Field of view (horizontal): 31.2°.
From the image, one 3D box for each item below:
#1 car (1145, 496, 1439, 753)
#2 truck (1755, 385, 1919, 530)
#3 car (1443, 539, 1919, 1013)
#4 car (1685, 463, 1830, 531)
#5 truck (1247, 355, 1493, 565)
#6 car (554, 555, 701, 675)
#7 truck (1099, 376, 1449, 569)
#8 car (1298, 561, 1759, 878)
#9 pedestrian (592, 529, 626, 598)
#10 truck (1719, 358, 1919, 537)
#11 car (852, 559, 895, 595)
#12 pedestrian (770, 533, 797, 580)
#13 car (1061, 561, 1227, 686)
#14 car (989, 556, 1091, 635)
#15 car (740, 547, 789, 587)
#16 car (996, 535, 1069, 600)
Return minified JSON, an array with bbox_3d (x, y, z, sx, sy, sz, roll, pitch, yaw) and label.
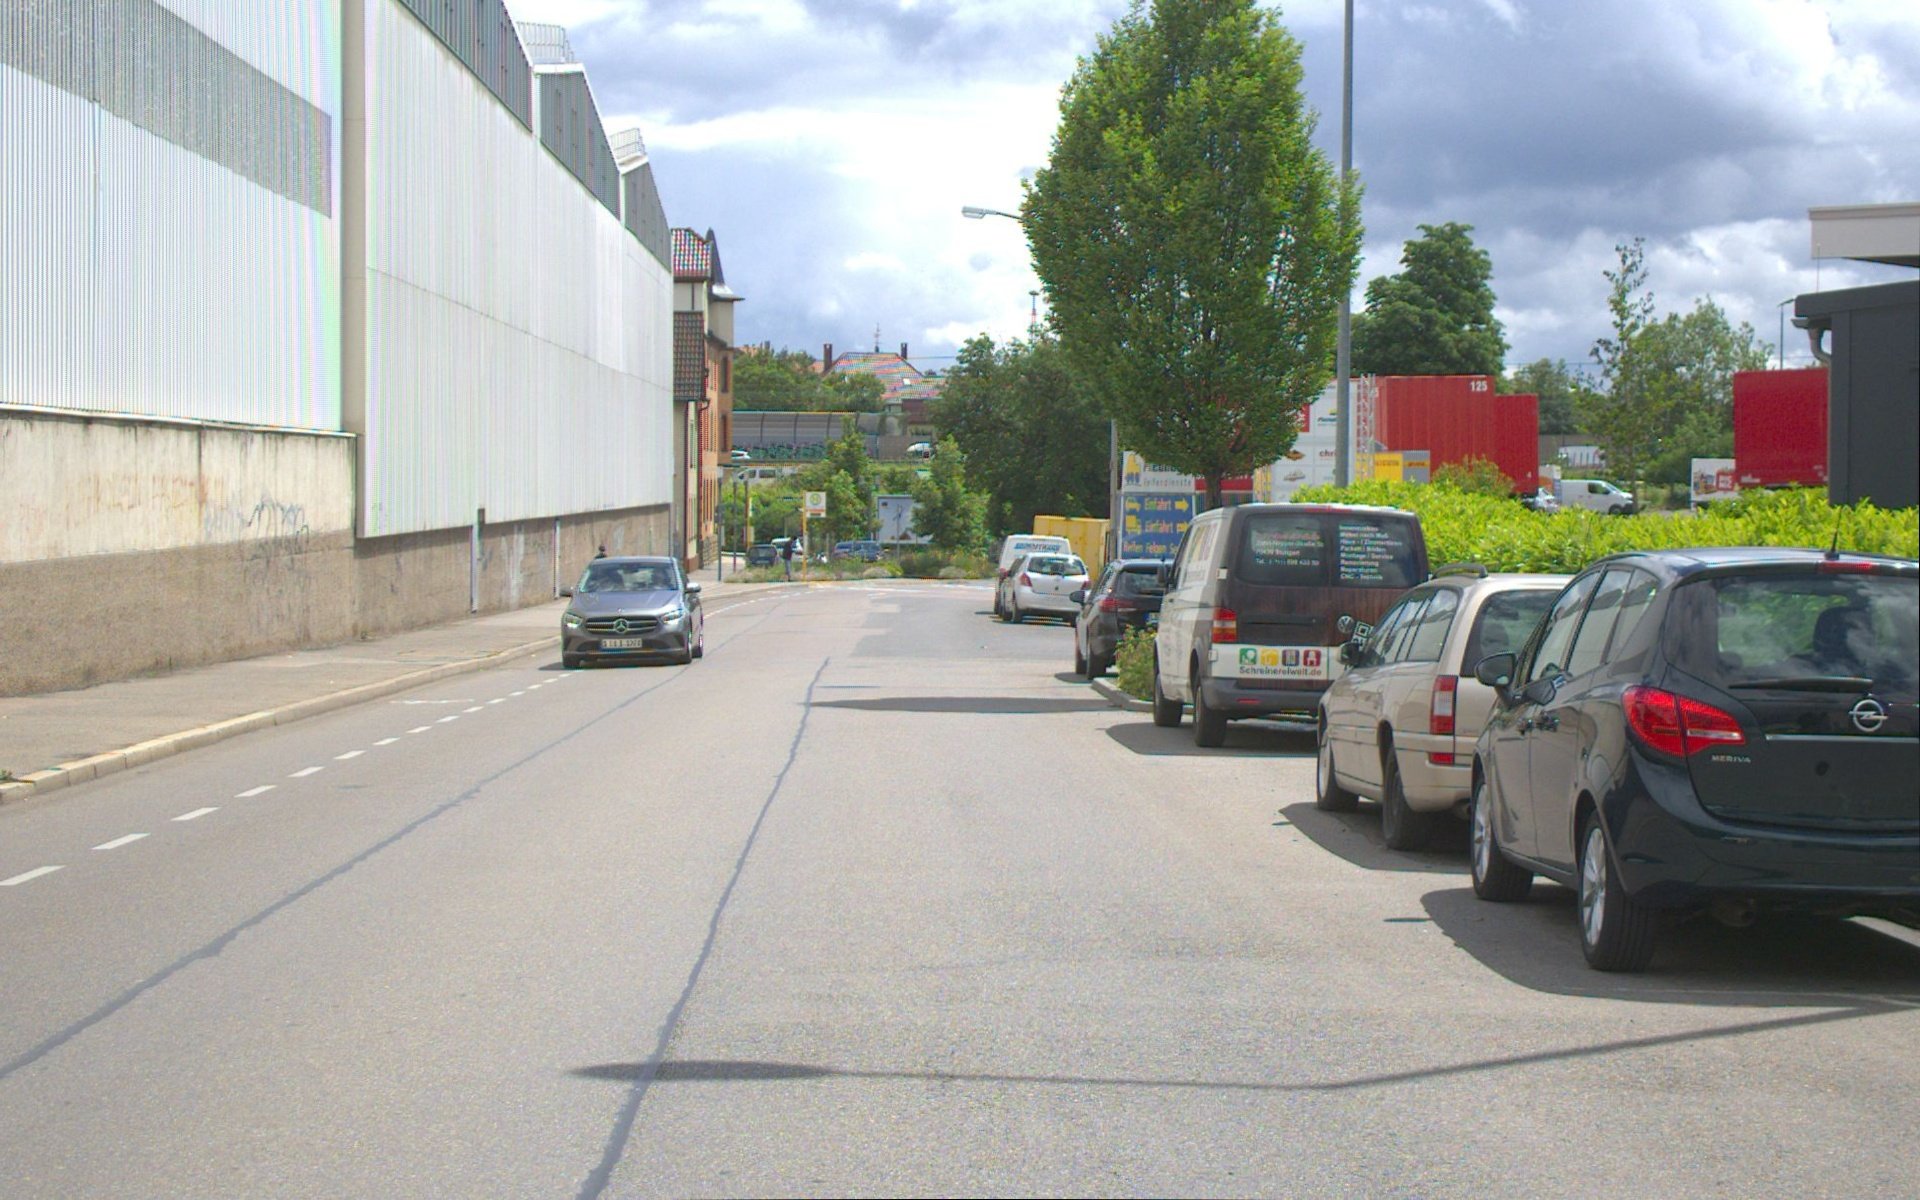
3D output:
[{"bbox_3d":[2.708,0.162,29.167,1.869,1.983,5.144,0,1,-1],"label":"car"},{"bbox_3d":[28.132,-4.376,107.529,2.996,4.045,8.458,0,-1,39],"label":"truck"},{"bbox_3d":[3.120,0.606,14.146,1.679,1.632,4.123,2,1,1],"label":"car"},{"bbox_3d":[32.947,-4.221,141.998,5.645,2.668,1.998,0,-1,20],"label":"car"},{"bbox_3d":[9.443,-3.139,80.198,2.573,4.434,7.864,1,-1,-18],"label":"truck"},{"bbox_3d":[-4.685,0.216,48.936,1.719,1.550,4.288,-3,0,-2],"label":"car"},{"bbox_3d":[7.939,-3.152,87.042,8.458,4.655,2.580,0,-1,20],"label":"truck"},{"bbox_3d":[2.996,0.557,19.070,1.655,1.535,4.734,0,1,-1],"label":"car"},{"bbox_3d":[-8.421,-0.876,82.600,0.713,1.632,0.777,0,-1,1],"label":"pedestrian"},{"bbox_3d":[22.688,-3.795,87.866,2.996,4.045,8.458,0,-1,39],"label":"truck"},{"bbox_3d":[-3.829,-1.003,151.507,1.852,1.481,4.000,0,-1,-2],"label":"car"},{"bbox_3d":[-6.331,-1.557,123.307,0.853,1.657,0.860,0,-1,4],"label":"pedestrian"},{"bbox_3d":[2.246,0.252,42.886,1.714,1.468,4.511,0,1,-1],"label":"car"},{"bbox_3d":[1.676,-0.120,73.149,1.701,1.522,3.739,3,1,-5],"label":"car"},{"bbox_3d":[-7.947,-1.329,139.870,1.852,1.481,4.000,0,-1,-2],"label":"car"},{"bbox_3d":[1.749,-0.804,83.930,1.701,1.522,3.738,1,1,1],"label":"car"}]
